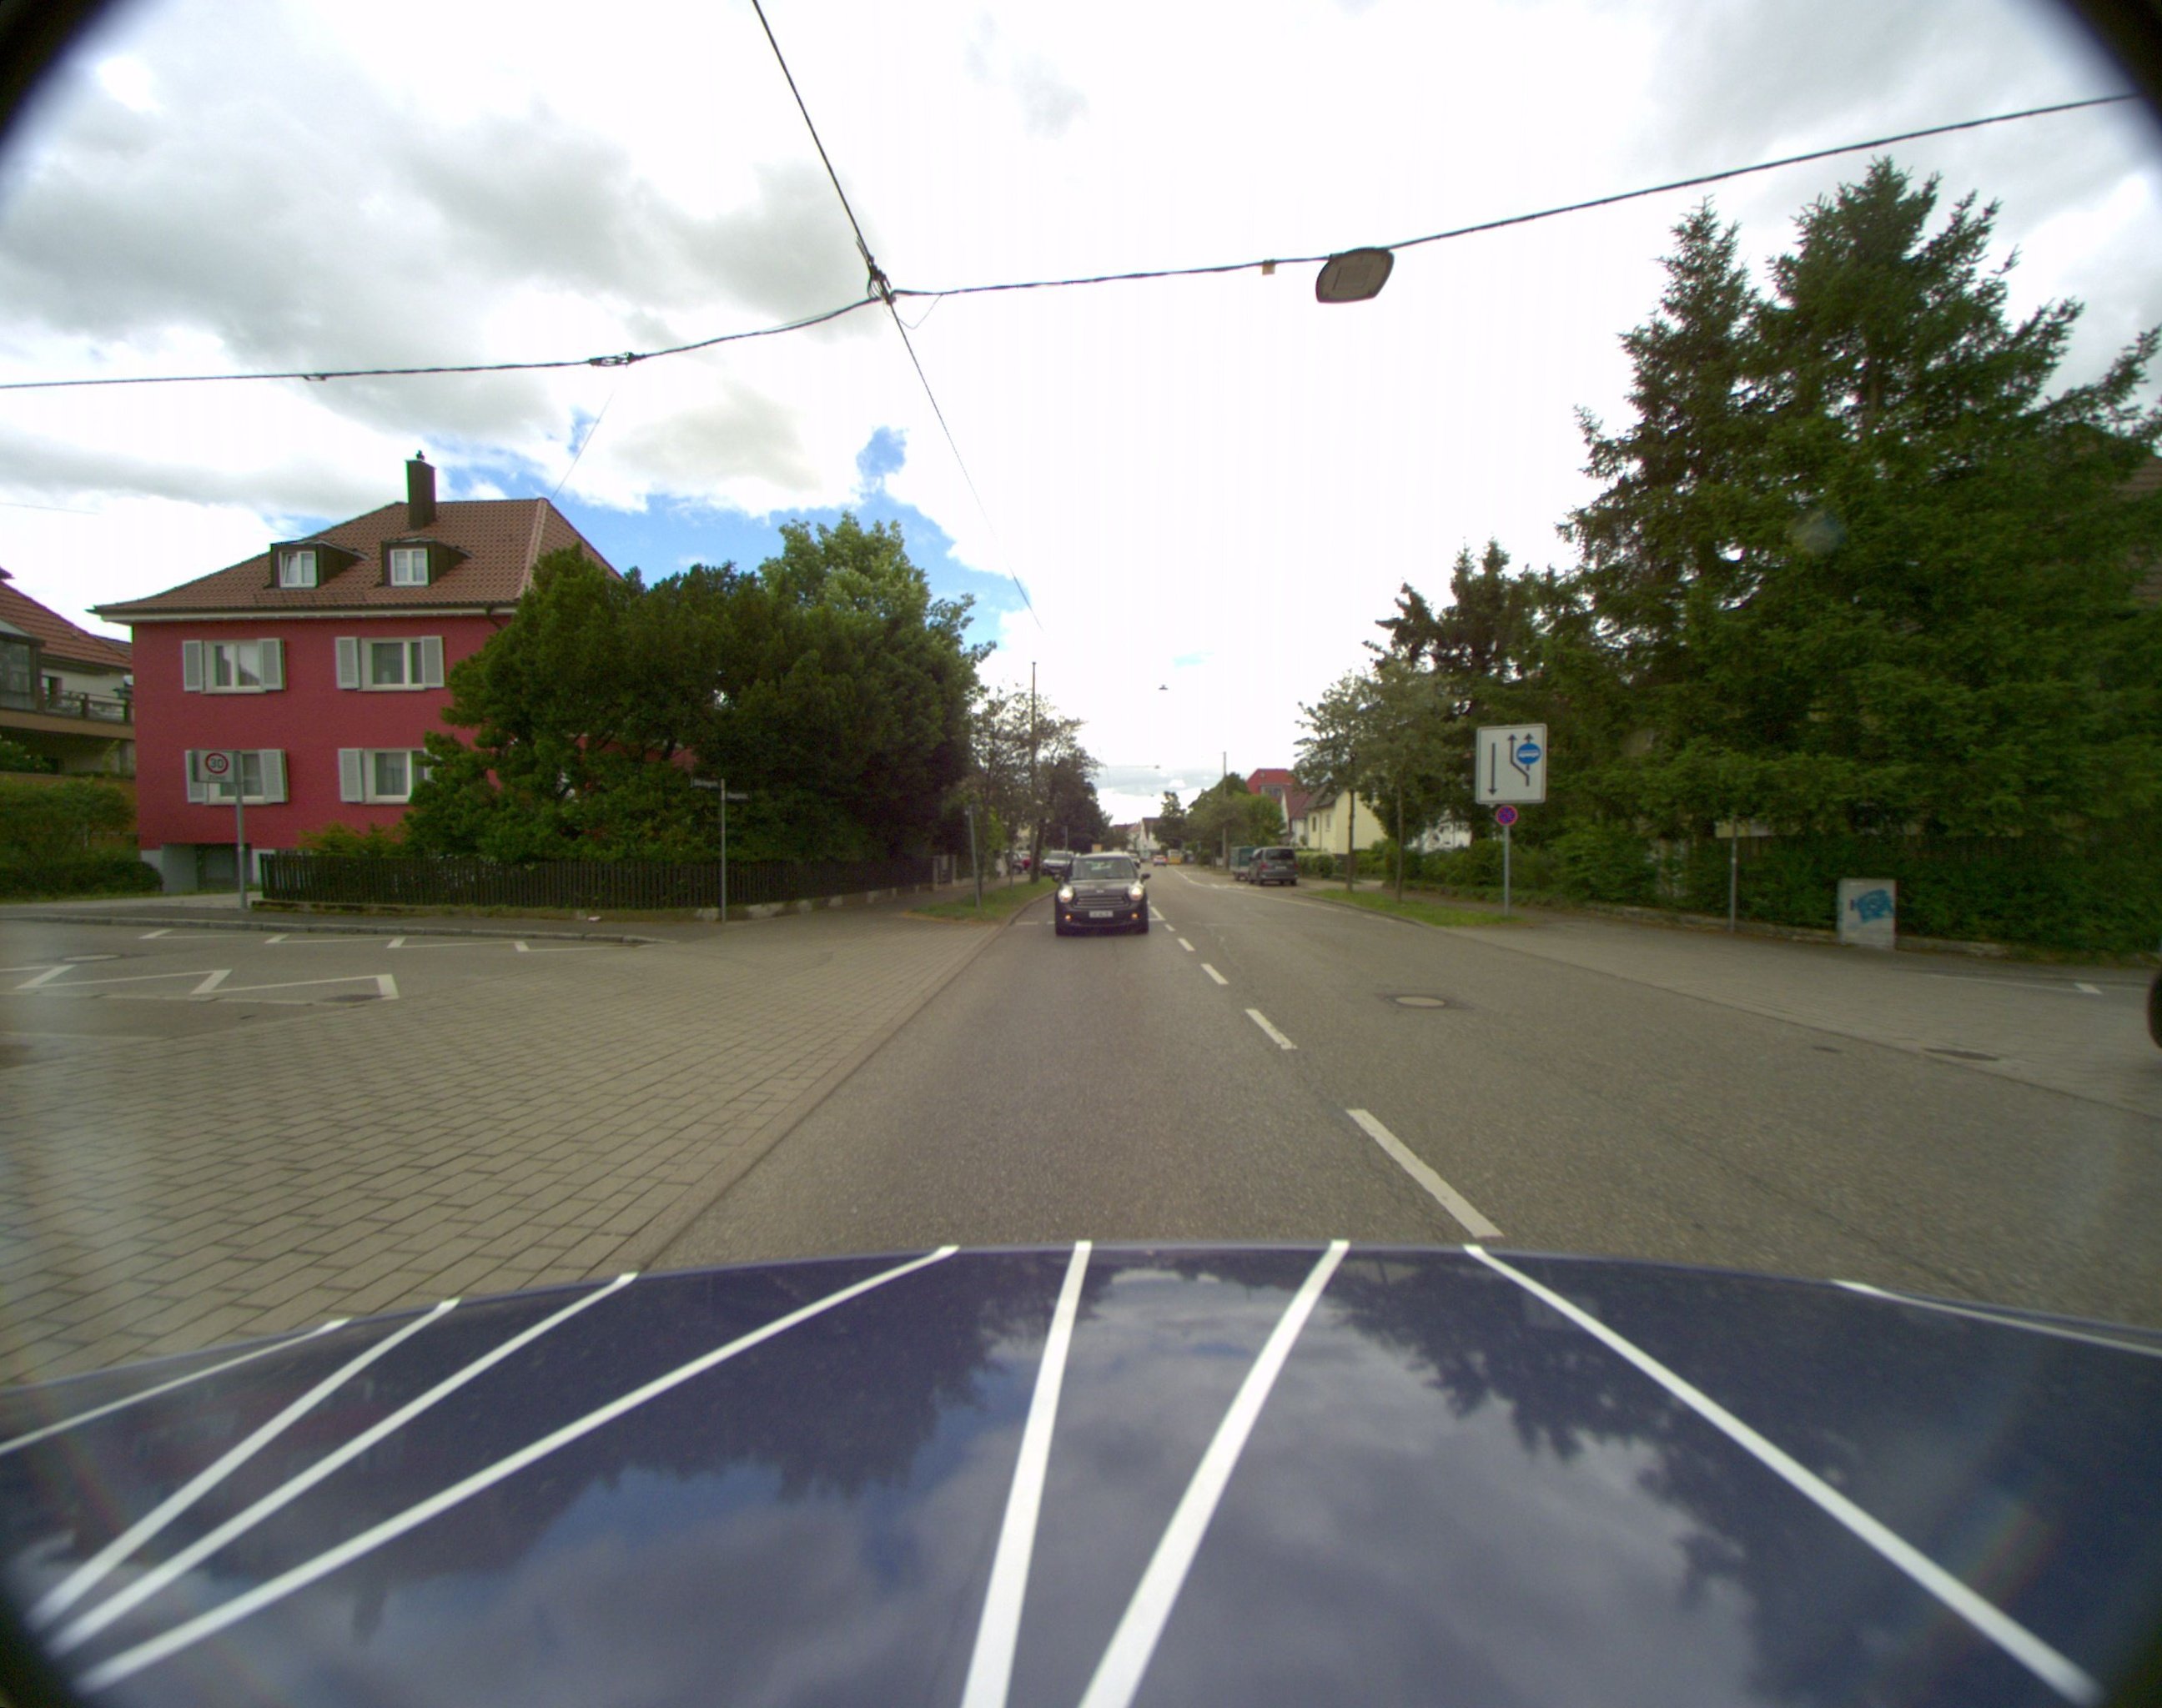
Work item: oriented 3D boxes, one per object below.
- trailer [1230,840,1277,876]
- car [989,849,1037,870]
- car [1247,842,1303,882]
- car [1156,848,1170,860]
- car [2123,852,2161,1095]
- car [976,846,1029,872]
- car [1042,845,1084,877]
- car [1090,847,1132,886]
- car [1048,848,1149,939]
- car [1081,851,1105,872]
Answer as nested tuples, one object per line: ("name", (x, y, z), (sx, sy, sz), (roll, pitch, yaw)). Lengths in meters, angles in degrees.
("trailer", (10.557, 0.213, 46.838), (2.159, 2.076, 4.427), (0, 0, 4))
("car", (-4.907, 0.361, 55.013), (3.361, 1.451, 1.749), (1, 1, -3))
("car", (10.078, 0.391, 39.808), (1.998, 1.938, 4.899), (0, 0, 4))
("car", (12.072, -0.033, 111.745), (1.824, 1.594, 4.300), (2, 1, 6))
("car", (6.846, 0.806, 3.072), (1.994, 1.611, 4.658), (1, 1, 40))
("car", (-5.333, 0.331, 52.038), (3.360, 1.624, 1.580), (3, 1, 0))
("car", (-1.040, 0.384, 46.610), (1.902, 1.826, 4.917), (1, 0, 6))
("car", (1.339, 0.498, 32.886), (1.589, 1.598, 3.686), (0, 0, 5))
("car", (0.477, 0.700, 15.415), (1.743, 1.573, 3.686), (-2, 0, 5))
("car", (1.011, 0.584, 62.243), (1.727, 1.582, 4.157), (1, 0, 3))
